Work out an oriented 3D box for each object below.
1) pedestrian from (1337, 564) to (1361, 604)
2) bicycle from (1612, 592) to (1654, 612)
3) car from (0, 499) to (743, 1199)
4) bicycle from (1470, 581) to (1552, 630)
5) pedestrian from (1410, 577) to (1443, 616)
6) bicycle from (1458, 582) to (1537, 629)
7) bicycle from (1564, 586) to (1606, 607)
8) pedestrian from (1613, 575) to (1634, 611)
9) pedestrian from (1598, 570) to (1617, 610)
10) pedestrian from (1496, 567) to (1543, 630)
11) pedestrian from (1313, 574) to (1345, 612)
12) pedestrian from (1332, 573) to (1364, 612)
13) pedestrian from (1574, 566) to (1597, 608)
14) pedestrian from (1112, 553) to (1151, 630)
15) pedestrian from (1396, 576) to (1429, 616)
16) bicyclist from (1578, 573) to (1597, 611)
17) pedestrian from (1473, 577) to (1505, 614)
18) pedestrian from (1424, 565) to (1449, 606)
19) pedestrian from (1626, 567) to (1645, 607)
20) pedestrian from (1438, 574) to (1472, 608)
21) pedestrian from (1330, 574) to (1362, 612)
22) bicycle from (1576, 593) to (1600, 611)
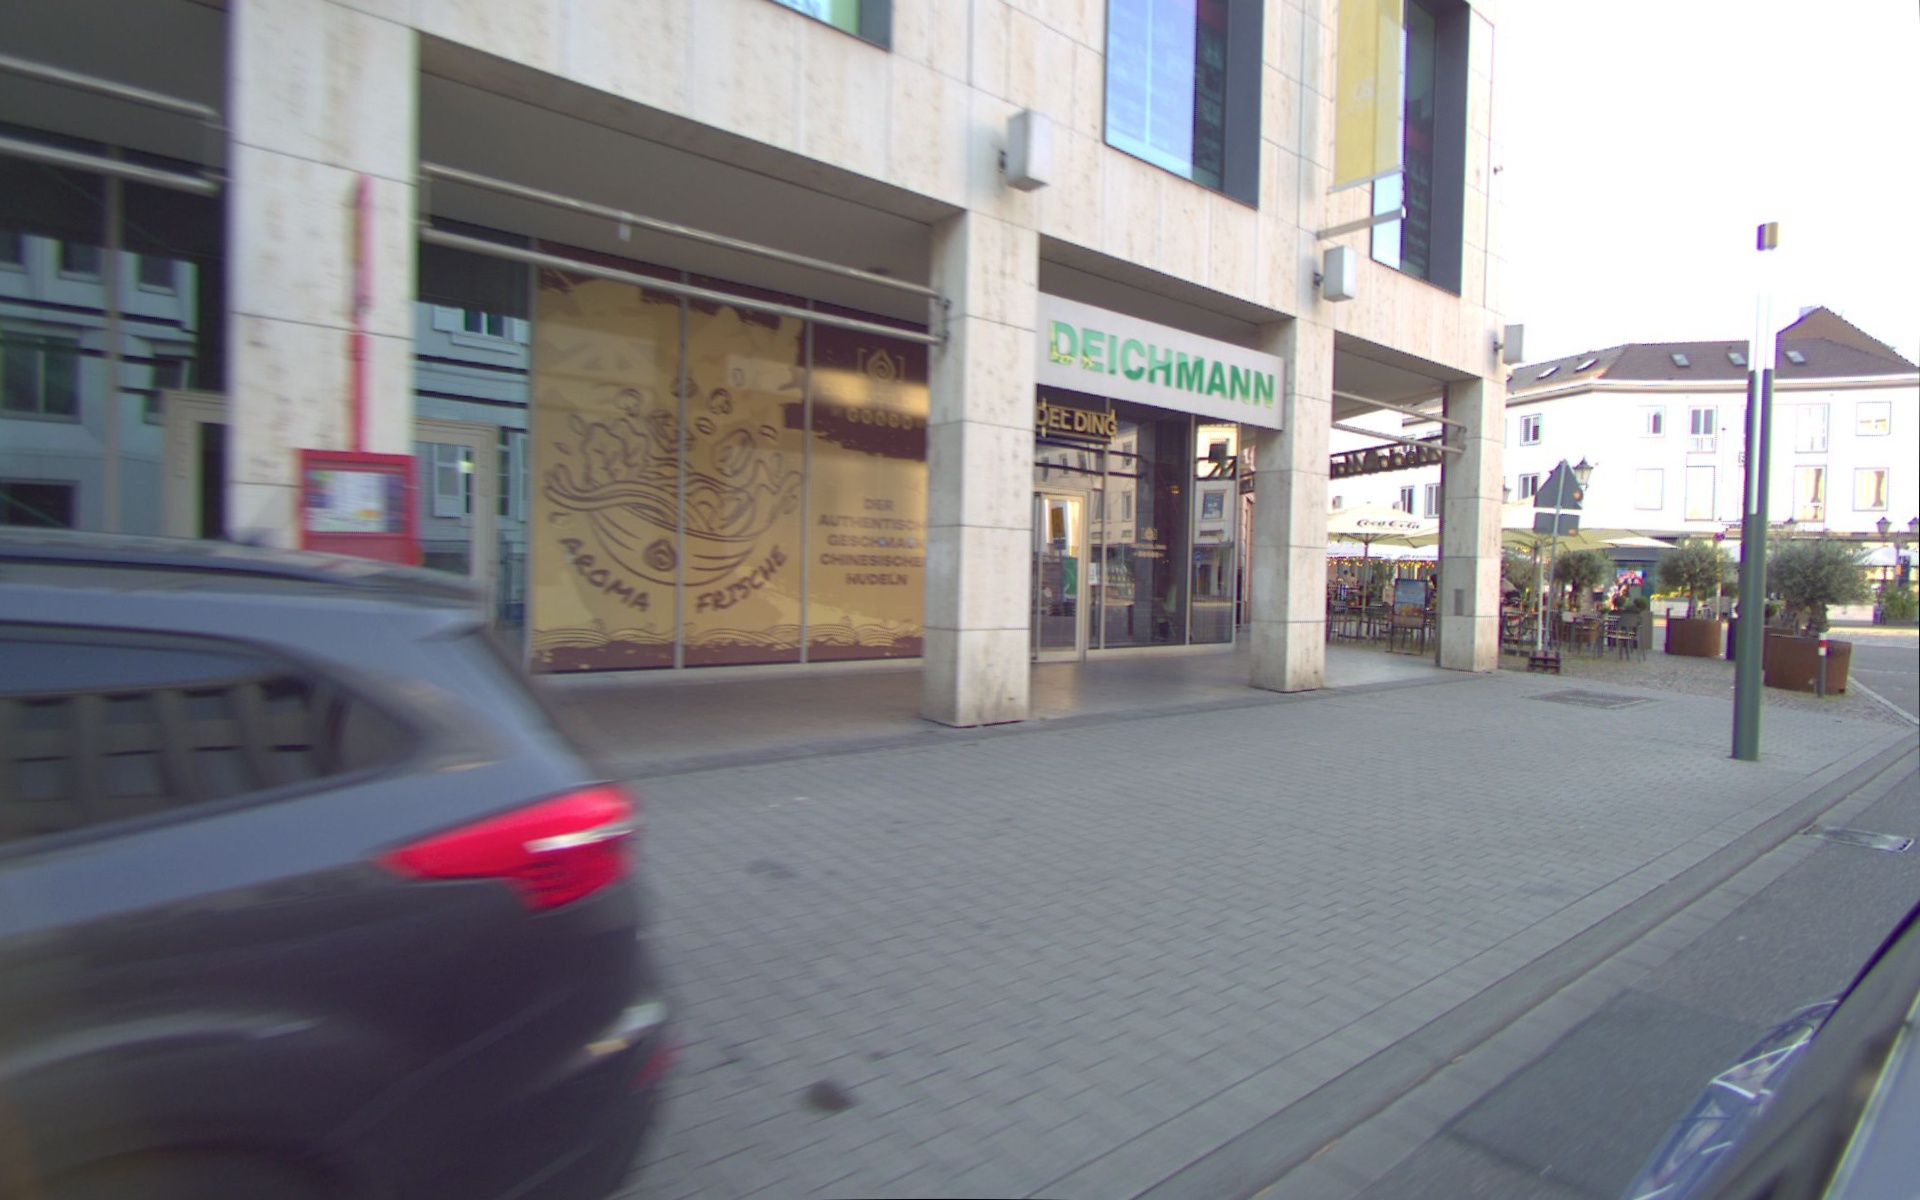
[{"bbox_3d":[17.384,-0.710,45.233,0.702,1.769,0.710,0,1,-33],"label":"pedestrian"},{"bbox_3d":[31.892,0.095,47.949,1.644,0.945,0.474,1,1,-2],"label":"bicycle"},{"bbox_3d":[-2.574,0.590,1.257,4.118,1.508,1.800,-1,5,-40],"label":"car"},{"bbox_3d":[13.859,0.142,25.458,1.866,1.142,0.609,3,1,-15],"label":"bicycle"},{"bbox_3d":[17.582,-0.141,38.153,0.847,1.465,0.725,1,1,-16],"label":"pedestrian"},{"bbox_3d":[14.136,0.140,26.633,1.866,1.142,0.609,3,1,-15],"label":"bicycle"},{"bbox_3d":[29.258,-0.148,47.372,1.644,0.945,0.474,1,1,-2],"label":"bicycle"},{"bbox_3d":[32.079,-0.337,48.912,0.720,1.697,0.620,0,1,-38],"label":"pedestrian"},{"bbox_3d":[31.838,-0.507,49.770,0.533,1.947,0.580,0,1,-38],"label":"pedestrian"},{"bbox_3d":[14.551,-0.041,26.323,0.699,1.608,0.751,1,1,-22],"label":"pedestrian"},{"bbox_3d":[14.475,-0.283,39.710,0.835,1.465,0.776,1,1,-24],"label":"pedestrian"},{"bbox_3d":[14.931,-0.291,38.963,0.835,1.465,0.776,1,1,-25],"label":"pedestrian"},{"bbox_3d":[29.344,-0.598,47.472,0.615,1.952,0.647,1,1,-16],"label":"pedestrian"},{"bbox_3d":[4.244,-0.213,25.033,0.655,1.885,0.720,1,1,-17],"label":"pedestrian"},{"bbox_3d":[16.799,-0.165,37.579,0.847,1.465,0.725,1,1,-16],"label":"pedestrian"},{"bbox_3d":[30.086,-0.388,48.513,0.820,1.765,0.482,0,1,-37],"label":"bicyclist"},{"bbox_3d":[21.588,-0.181,41.308,0.847,1.465,0.725,1,1,-16],"label":"pedestrian"},{"bbox_3d":[20.870,-0.620,44.343,0.703,1.769,0.710,1,1,-1],"label":"pedestrian"},{"bbox_3d":[31.929,-0.609,47.835,0.705,1.841,0.509,0,1,-38],"label":"pedestrian"},{"bbox_3d":[21.848,-0.388,44.689,0.926,1.465,0.973,1,1,-24],"label":"pedestrian"},{"bbox_3d":[15.325,-0.272,40.178,0.835,1.465,0.776,1,1,-24],"label":"pedestrian"},{"bbox_3d":[30.092,0.096,48.519,1.456,0.858,0.482,0,1,-37],"label":"bicycle"}]
